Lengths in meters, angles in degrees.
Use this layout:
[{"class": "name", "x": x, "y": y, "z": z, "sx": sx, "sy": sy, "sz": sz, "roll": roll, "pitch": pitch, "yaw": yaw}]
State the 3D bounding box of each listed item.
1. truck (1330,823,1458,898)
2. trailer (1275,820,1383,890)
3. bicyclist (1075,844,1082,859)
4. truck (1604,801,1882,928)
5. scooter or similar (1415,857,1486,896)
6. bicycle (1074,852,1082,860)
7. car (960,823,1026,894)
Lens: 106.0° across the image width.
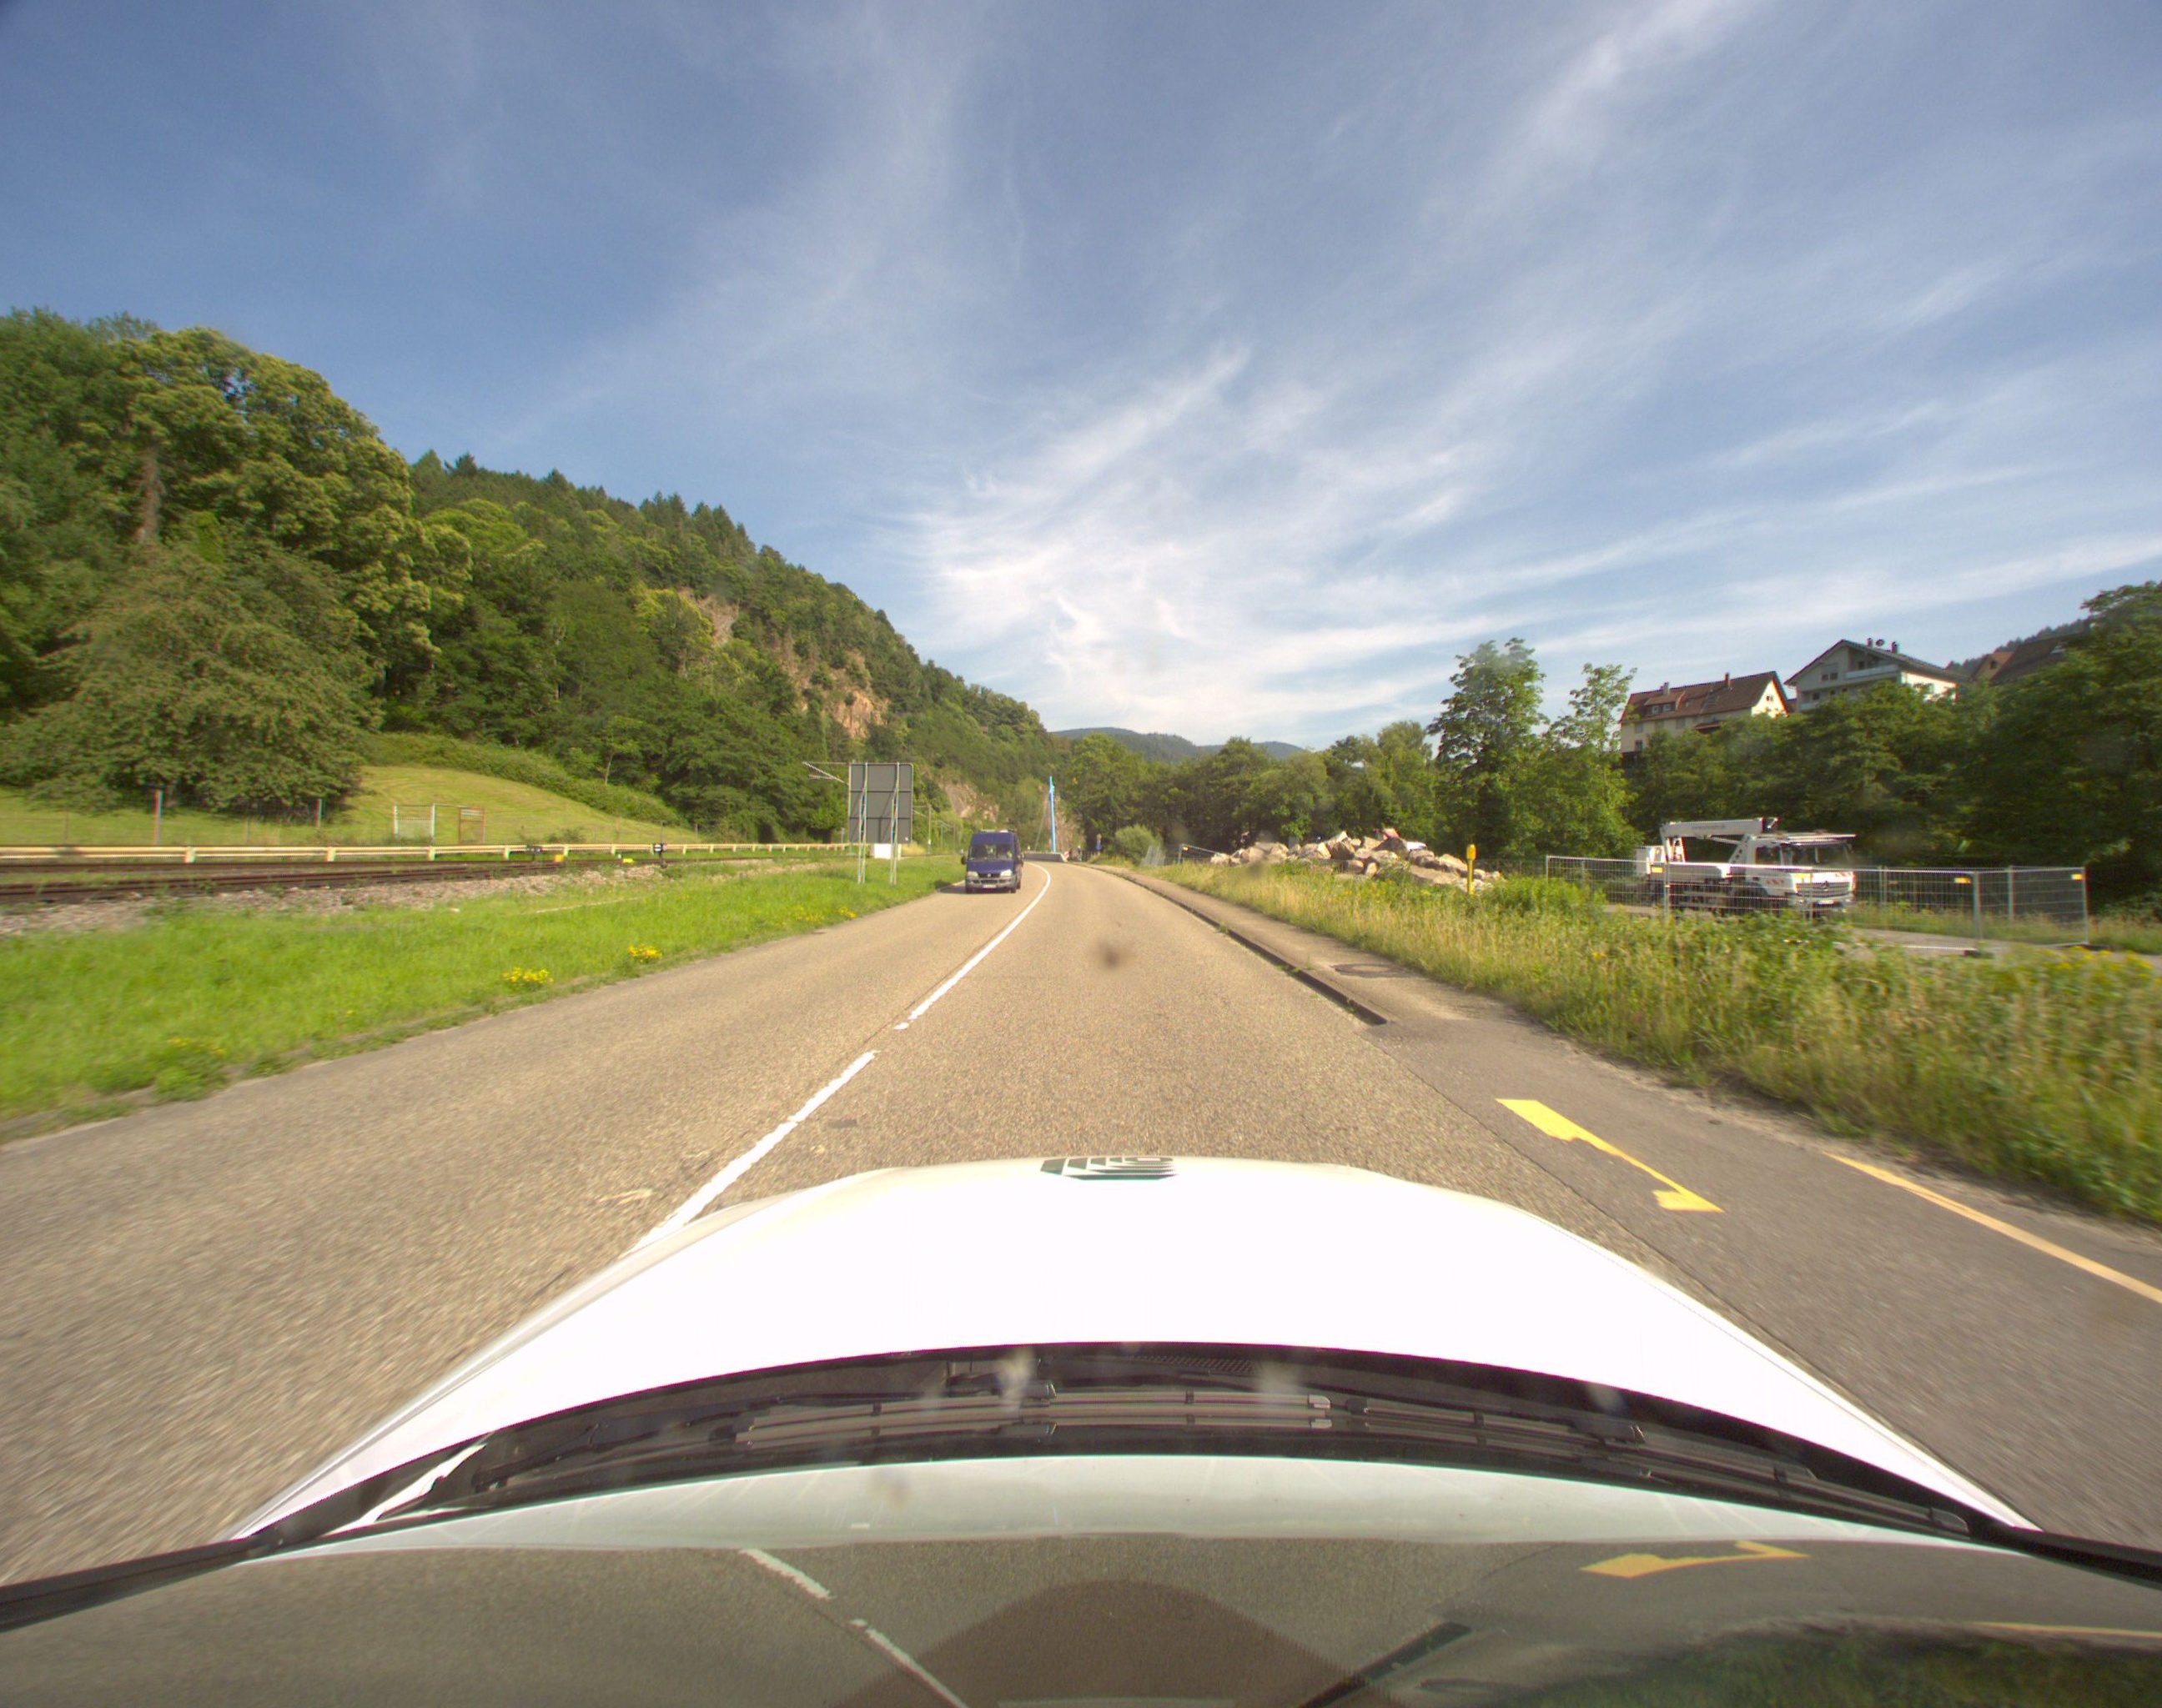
[{"class": "truck", "x": 17.578, "y": 0.332, "z": 46.518, "sx": 3.100, "sy": 3.782, "sz": 8.624, "roll": 2, "pitch": 0, "yaw": -7}, {"class": "trailer", "x": 16.666, "y": 0.120, "z": 55.711, "sx": 3.361, "sy": 4.274, "sz": 9.886, "roll": 2, "pitch": -1, "yaw": -6}, {"class": "bicyclist", "x": -0.309, "y": -0.250, "z": 93.486, "sx": 0.640, "sy": 1.654, "sz": 0.807, "roll": 3, "pitch": 0, "yaw": -7}, {"class": "truck", "x": 22.954, "y": 0.309, "z": 29.136, "sx": 3.091, "sy": 3.782, "sz": 8.649, "roll": 2, "pitch": 0, "yaw": 2}, {"class": "scooter or similar", "x": 20.595, "y": 1.207, "z": 45.540, "sx": 1.989, "sy": 2.013, "sz": 3.995, "roll": 0, "pitch": 0, "yaw": -4}, {"class": "bicycle", "x": -0.337, "y": 0.212, "z": 93.503, "sx": 0.647, "sy": 0.942, "sz": 1.844, "roll": 3, "pitch": 0, "yaw": -6}, {"class": "car", "x": -3.499, "y": 0.141, "z": 33.422, "sx": 2.120, "sy": 2.615, "sz": 5.478, "roll": -1, "pitch": 0, "yaw": -1}]
